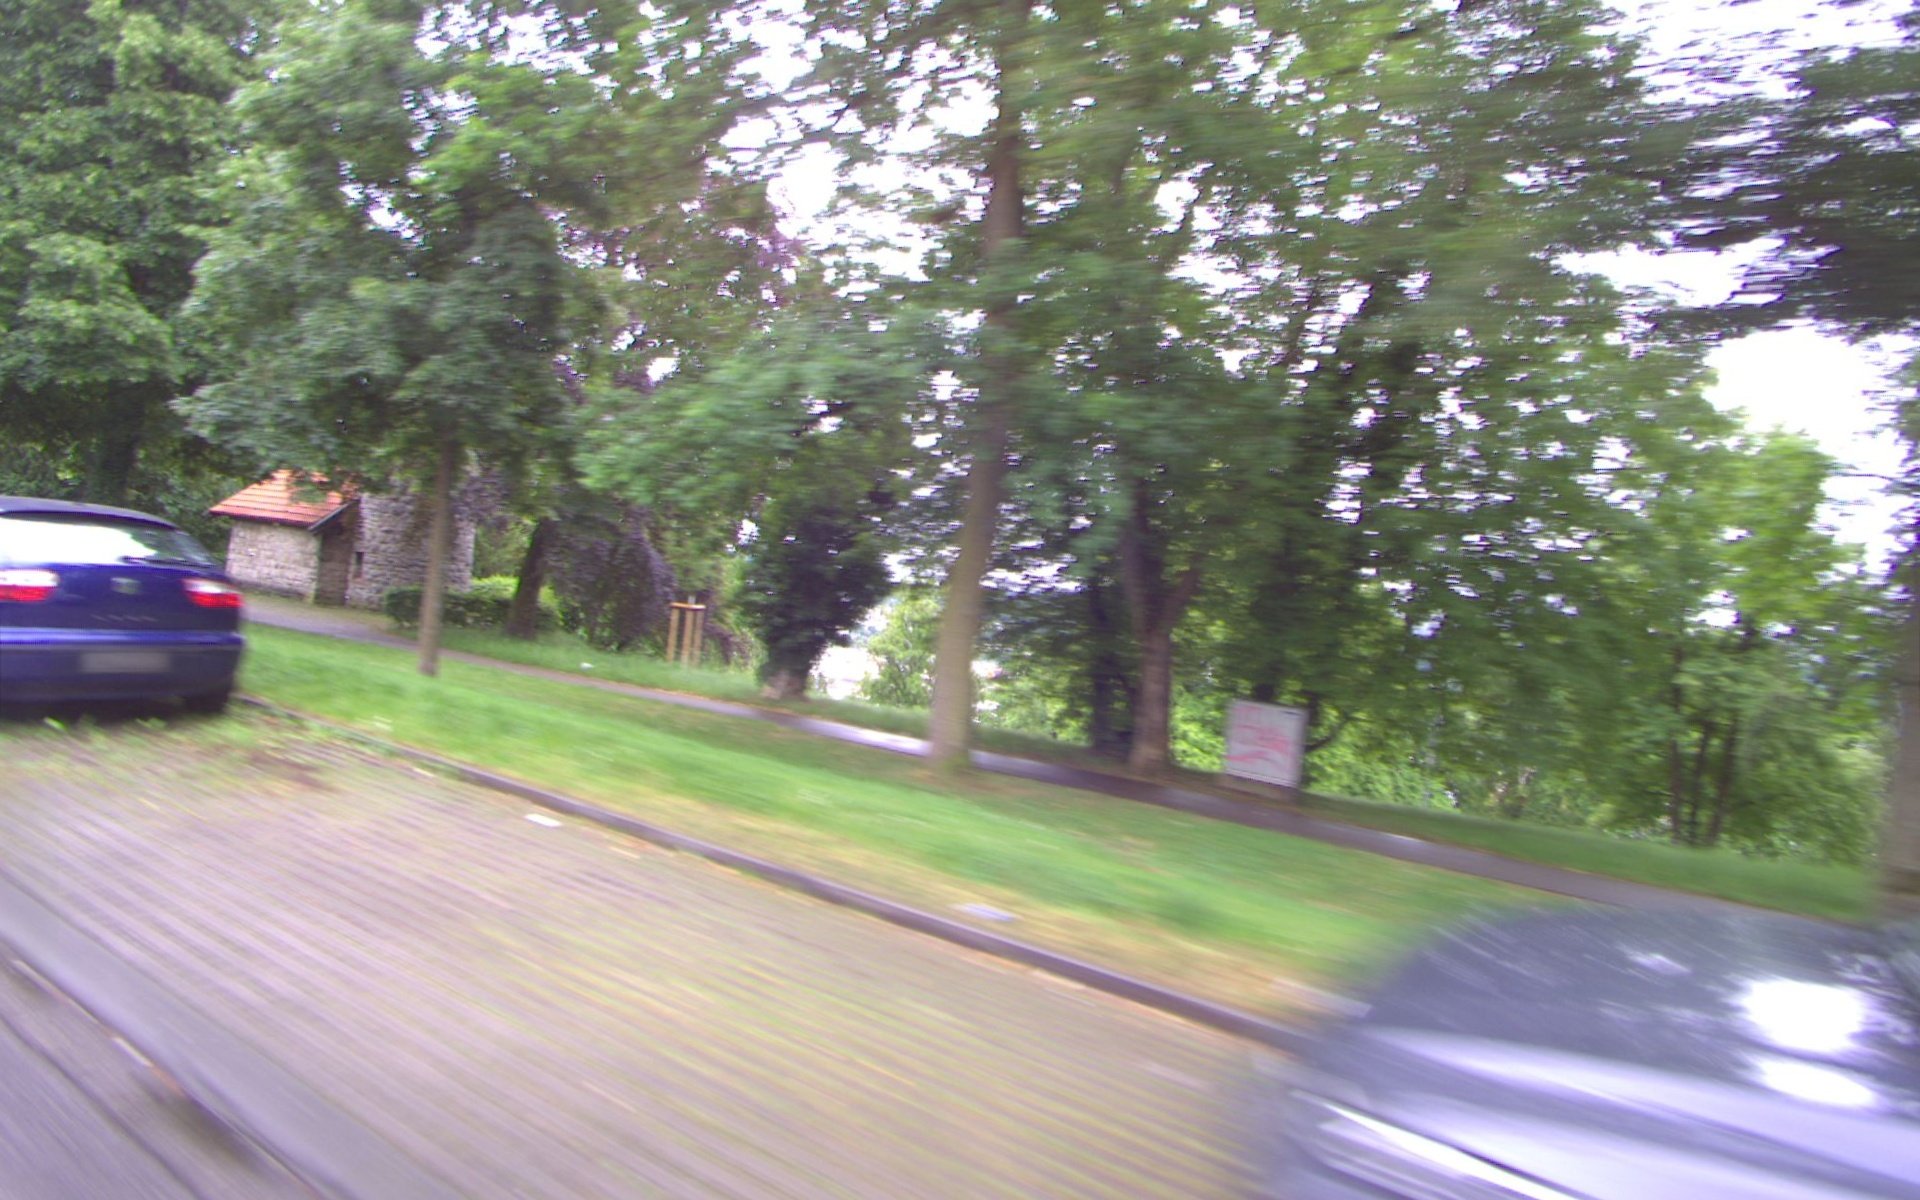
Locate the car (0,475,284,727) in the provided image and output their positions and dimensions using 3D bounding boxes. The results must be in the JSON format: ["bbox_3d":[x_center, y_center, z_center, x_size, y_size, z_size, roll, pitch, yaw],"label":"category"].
[{"bbox_3d":[-6.934,-0.148,7.401,3.934,1.470,1.745,7,0,32],"label":"car"}]

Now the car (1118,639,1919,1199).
[{"bbox_3d":[2.487,1.060,1.377,4.147,1.480,1.702,7,1,32],"label":"car"}]
